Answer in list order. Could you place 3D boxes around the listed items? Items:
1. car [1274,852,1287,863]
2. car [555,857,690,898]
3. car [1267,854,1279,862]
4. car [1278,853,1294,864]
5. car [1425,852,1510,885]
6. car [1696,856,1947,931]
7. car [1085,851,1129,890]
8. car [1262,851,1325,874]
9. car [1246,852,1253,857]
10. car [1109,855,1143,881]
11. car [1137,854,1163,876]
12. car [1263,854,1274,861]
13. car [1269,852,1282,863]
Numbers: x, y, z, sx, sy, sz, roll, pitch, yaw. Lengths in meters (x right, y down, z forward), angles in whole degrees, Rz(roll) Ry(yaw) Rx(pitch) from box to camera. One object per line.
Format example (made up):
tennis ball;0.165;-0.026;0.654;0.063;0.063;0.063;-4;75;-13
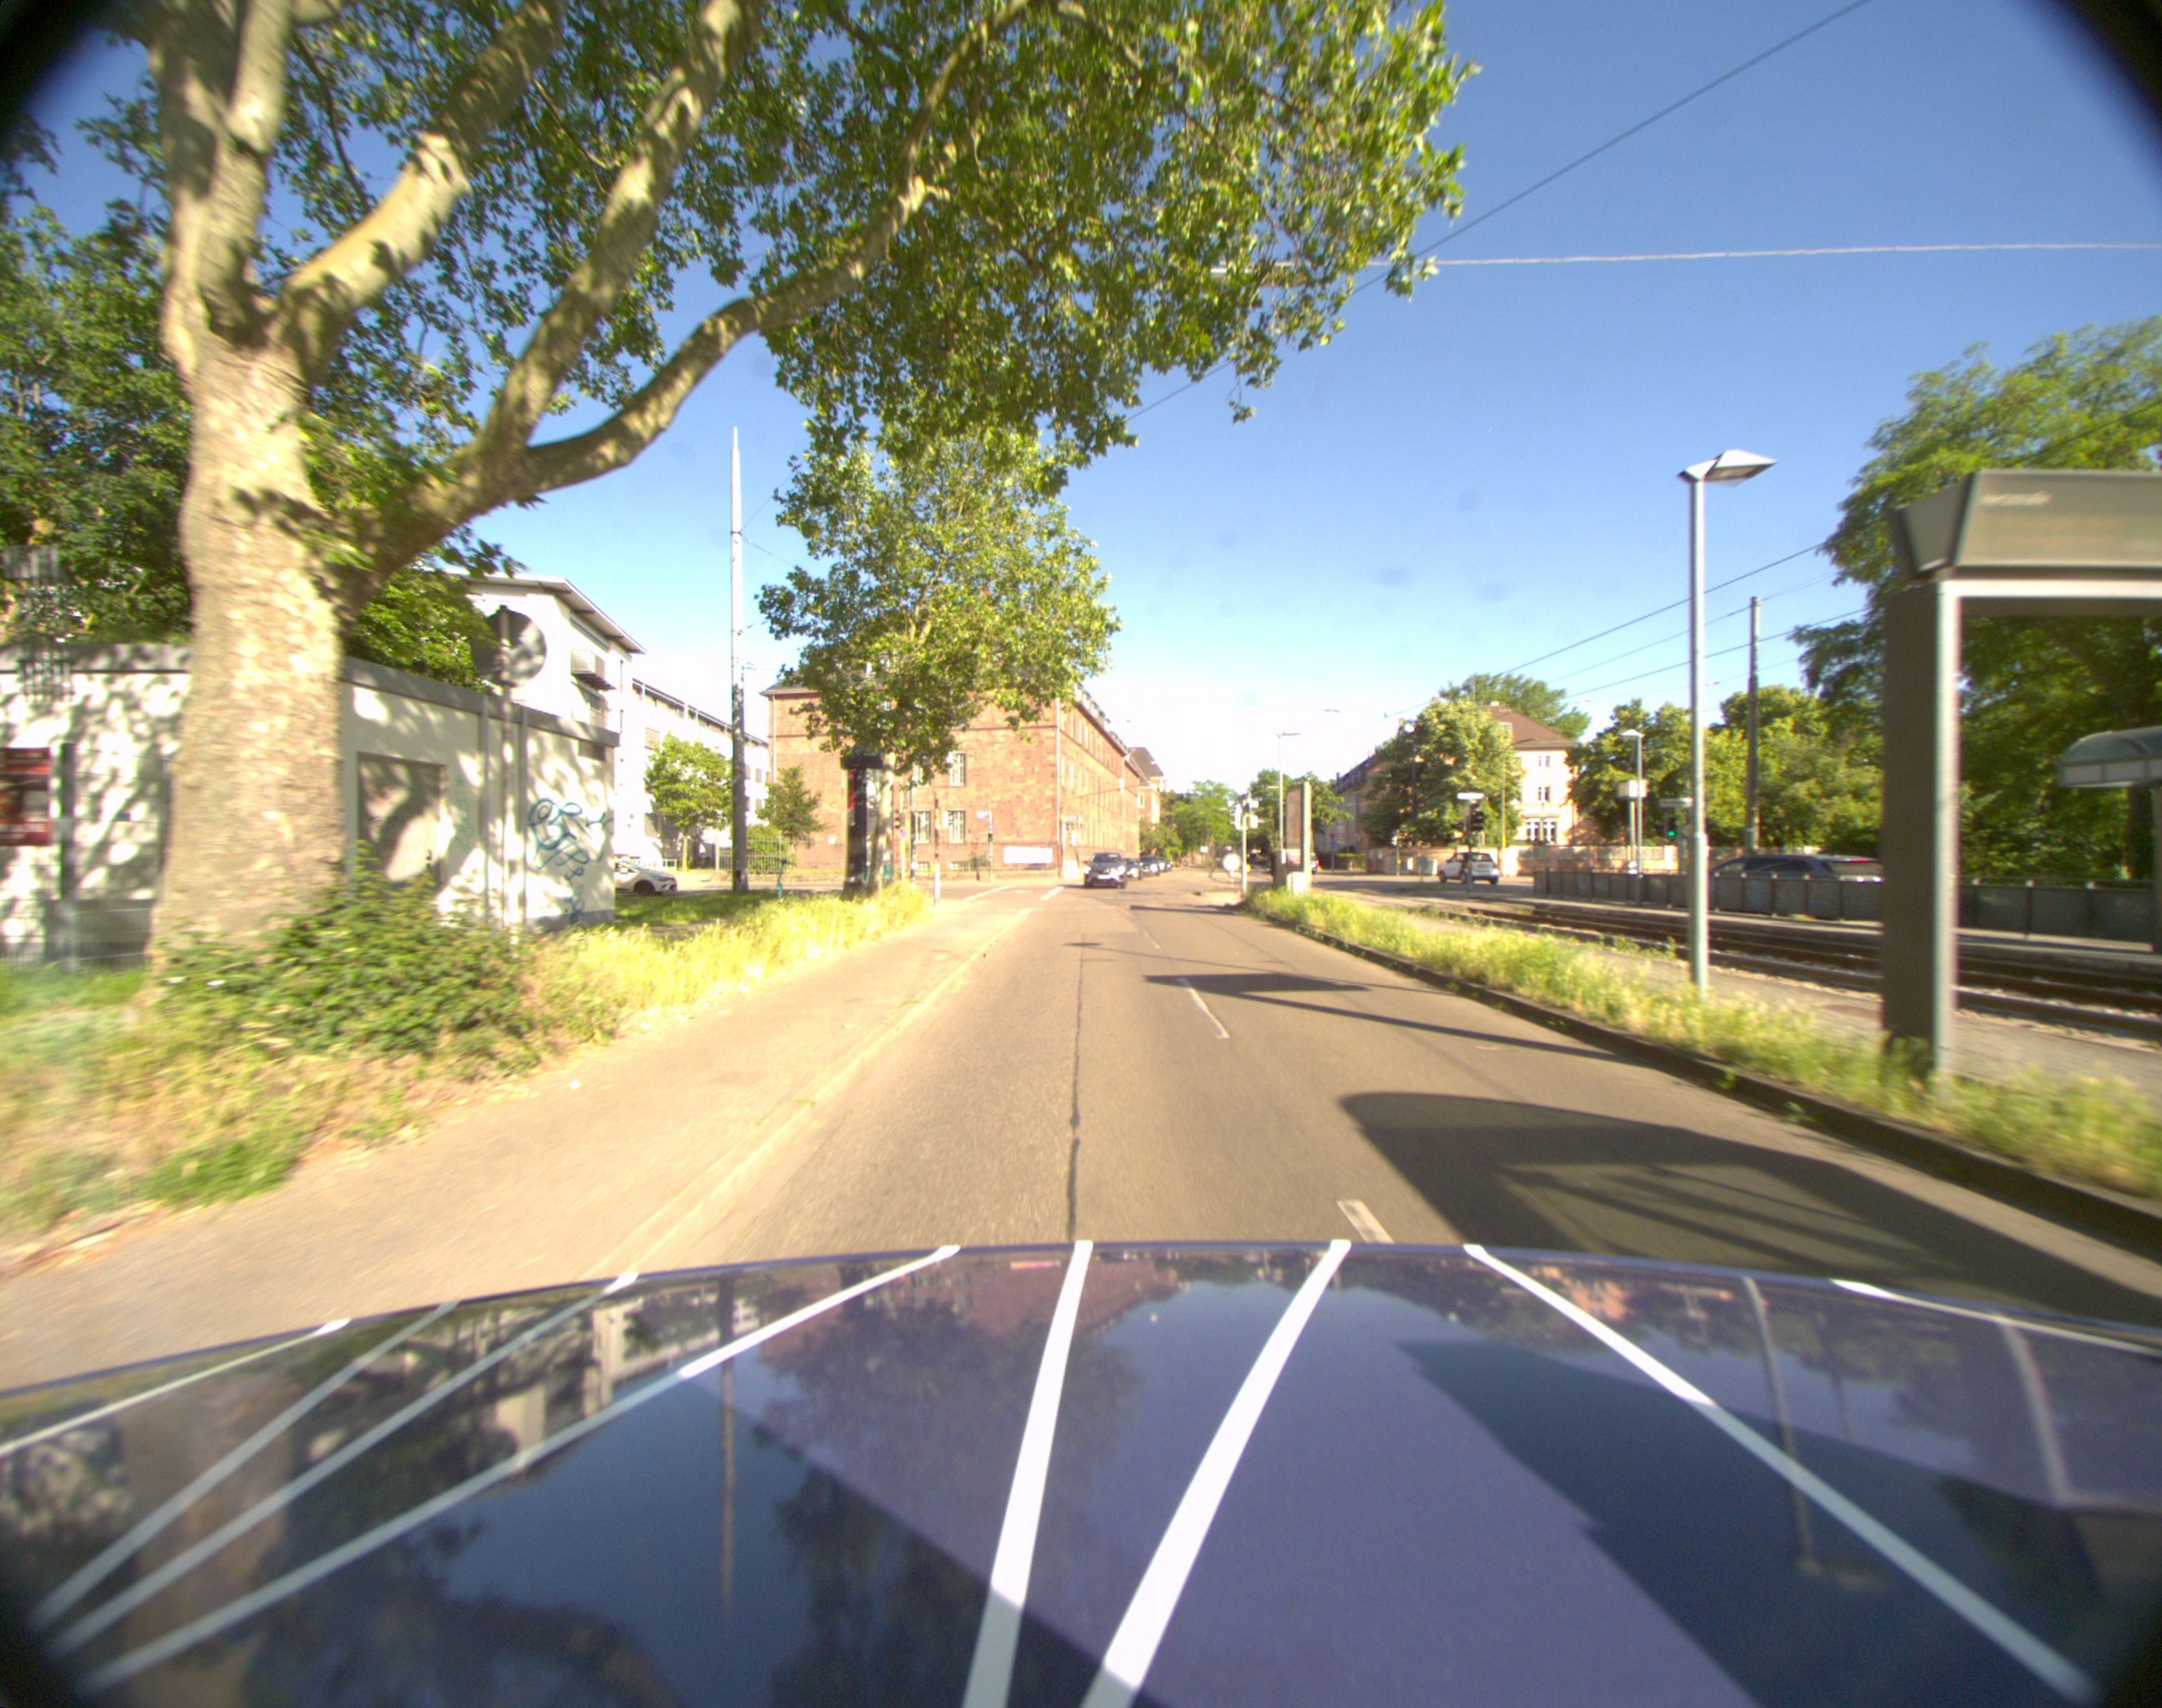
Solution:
car;32.617;0.607;124.296;1.814;1.814;3.798;0;0;9
car;-17.319;0.865;28.890;4.000;1.459;1.798;0;1;-8
car;35.942;0.702;142.446;1.814;1.411;3.633;0;0;9
car;30.332;0.648;112.614;1.814;1.589;3.633;0;0;9
car;18.950;0.683;37.462;1.926;1.558;3.998;0;0;-5
car;16.549;0.807;17.322;1.809;1.458;4.000;0;0;0
car;1.179;0.708;33.905;1.795;1.595;3.800;-1;0;2
car;16.738;0.620;60.102;2.003;1.756;5.021;0;0;-25
car;54.720;0.193;246.429;1.814;1.411;3.633;0;0;9
car;2.924;0.855;48.723;1.794;1.595;3.802;-1;0;9
car;5.615;0.850;61.213;1.794;1.638;4.086;-1;0;9
car;37.343;0.720;151.272;1.814;1.411;3.633;0;0;9
car;34.156;0.601;133.250;1.814;1.929;3.633;0;0;9
